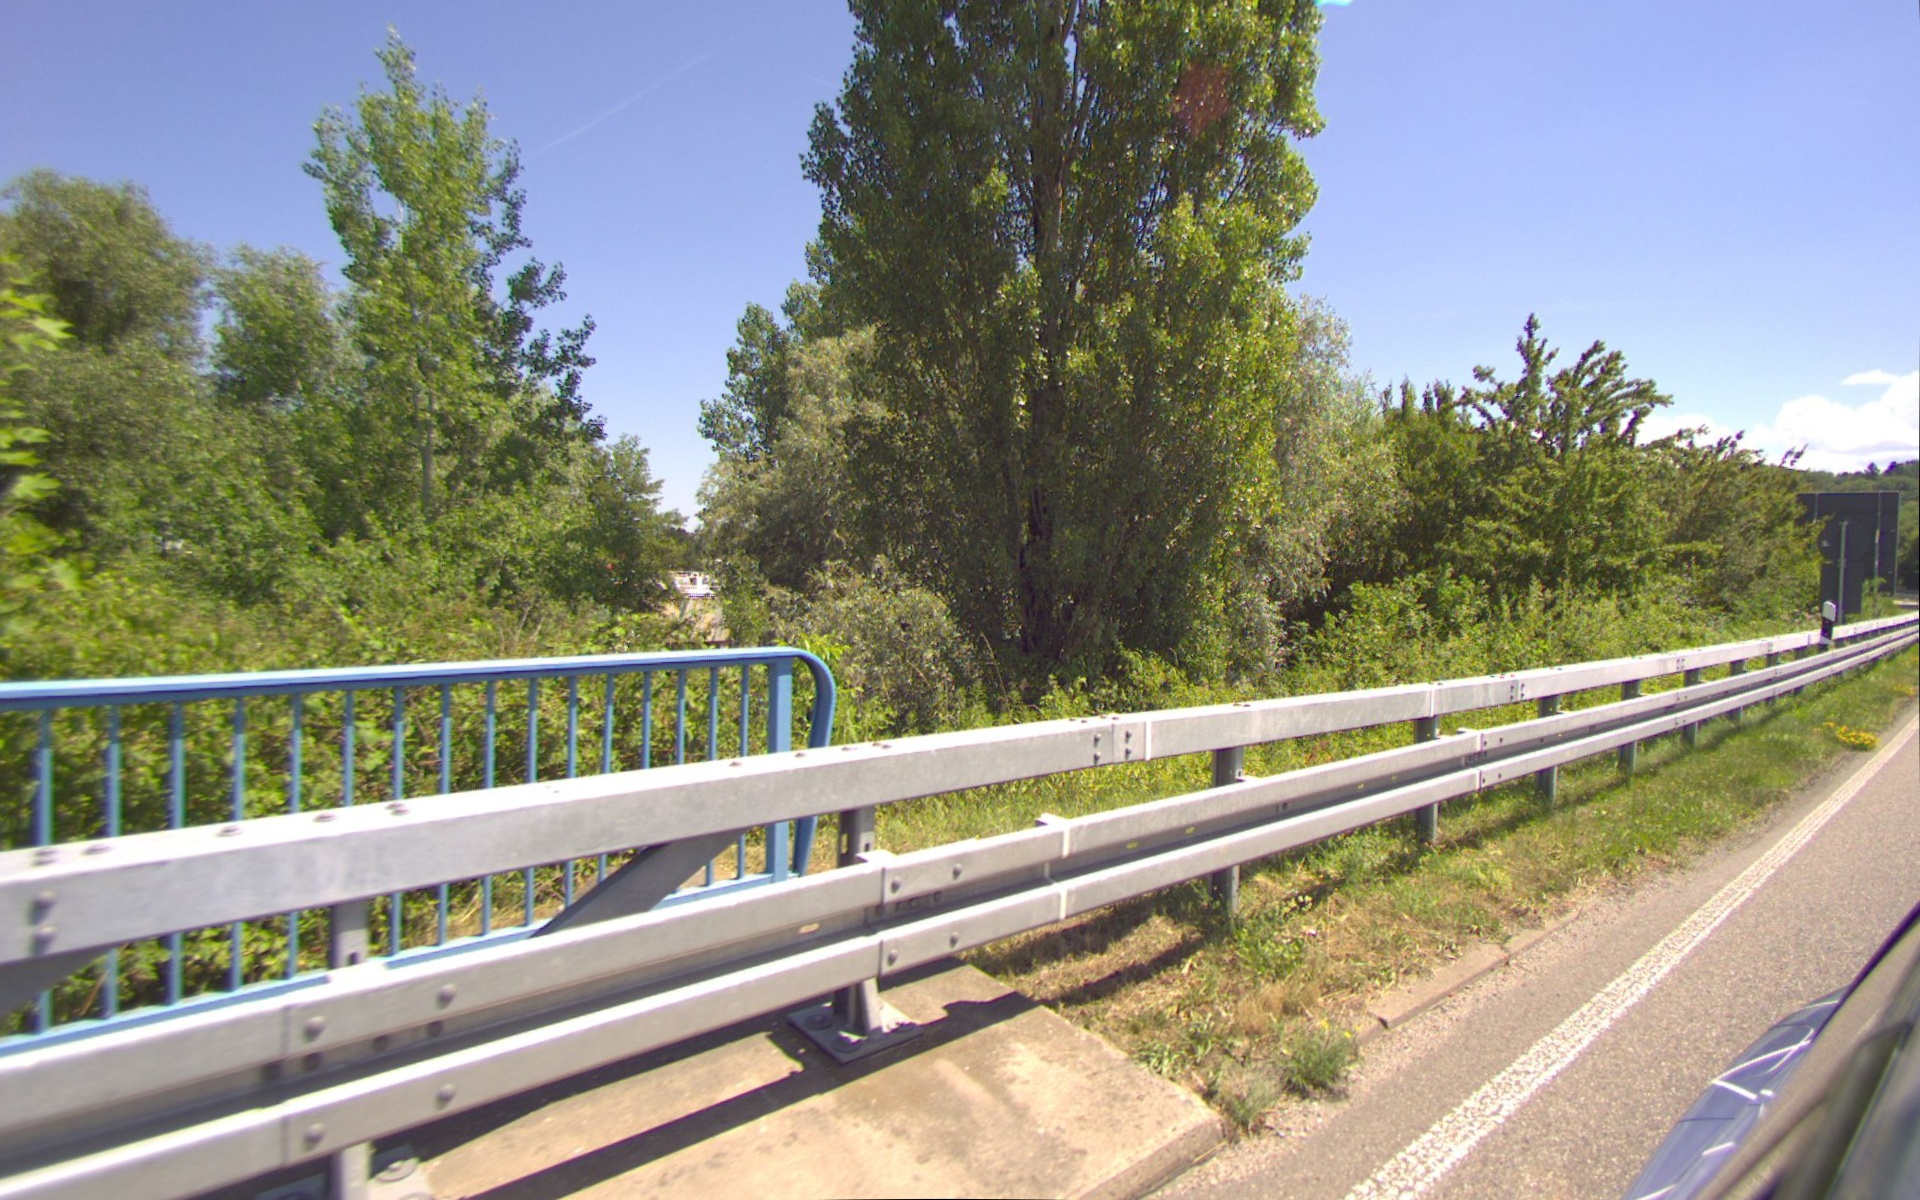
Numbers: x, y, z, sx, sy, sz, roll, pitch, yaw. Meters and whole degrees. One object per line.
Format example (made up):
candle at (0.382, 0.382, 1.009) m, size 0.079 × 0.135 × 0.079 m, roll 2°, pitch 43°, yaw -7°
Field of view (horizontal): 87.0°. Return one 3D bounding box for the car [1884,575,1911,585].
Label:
car at (177.050, -3.815, 191.182) m, size 2.187 × 1.916 × 4.874 m, roll 0°, pitch 2°, yaw 24°
